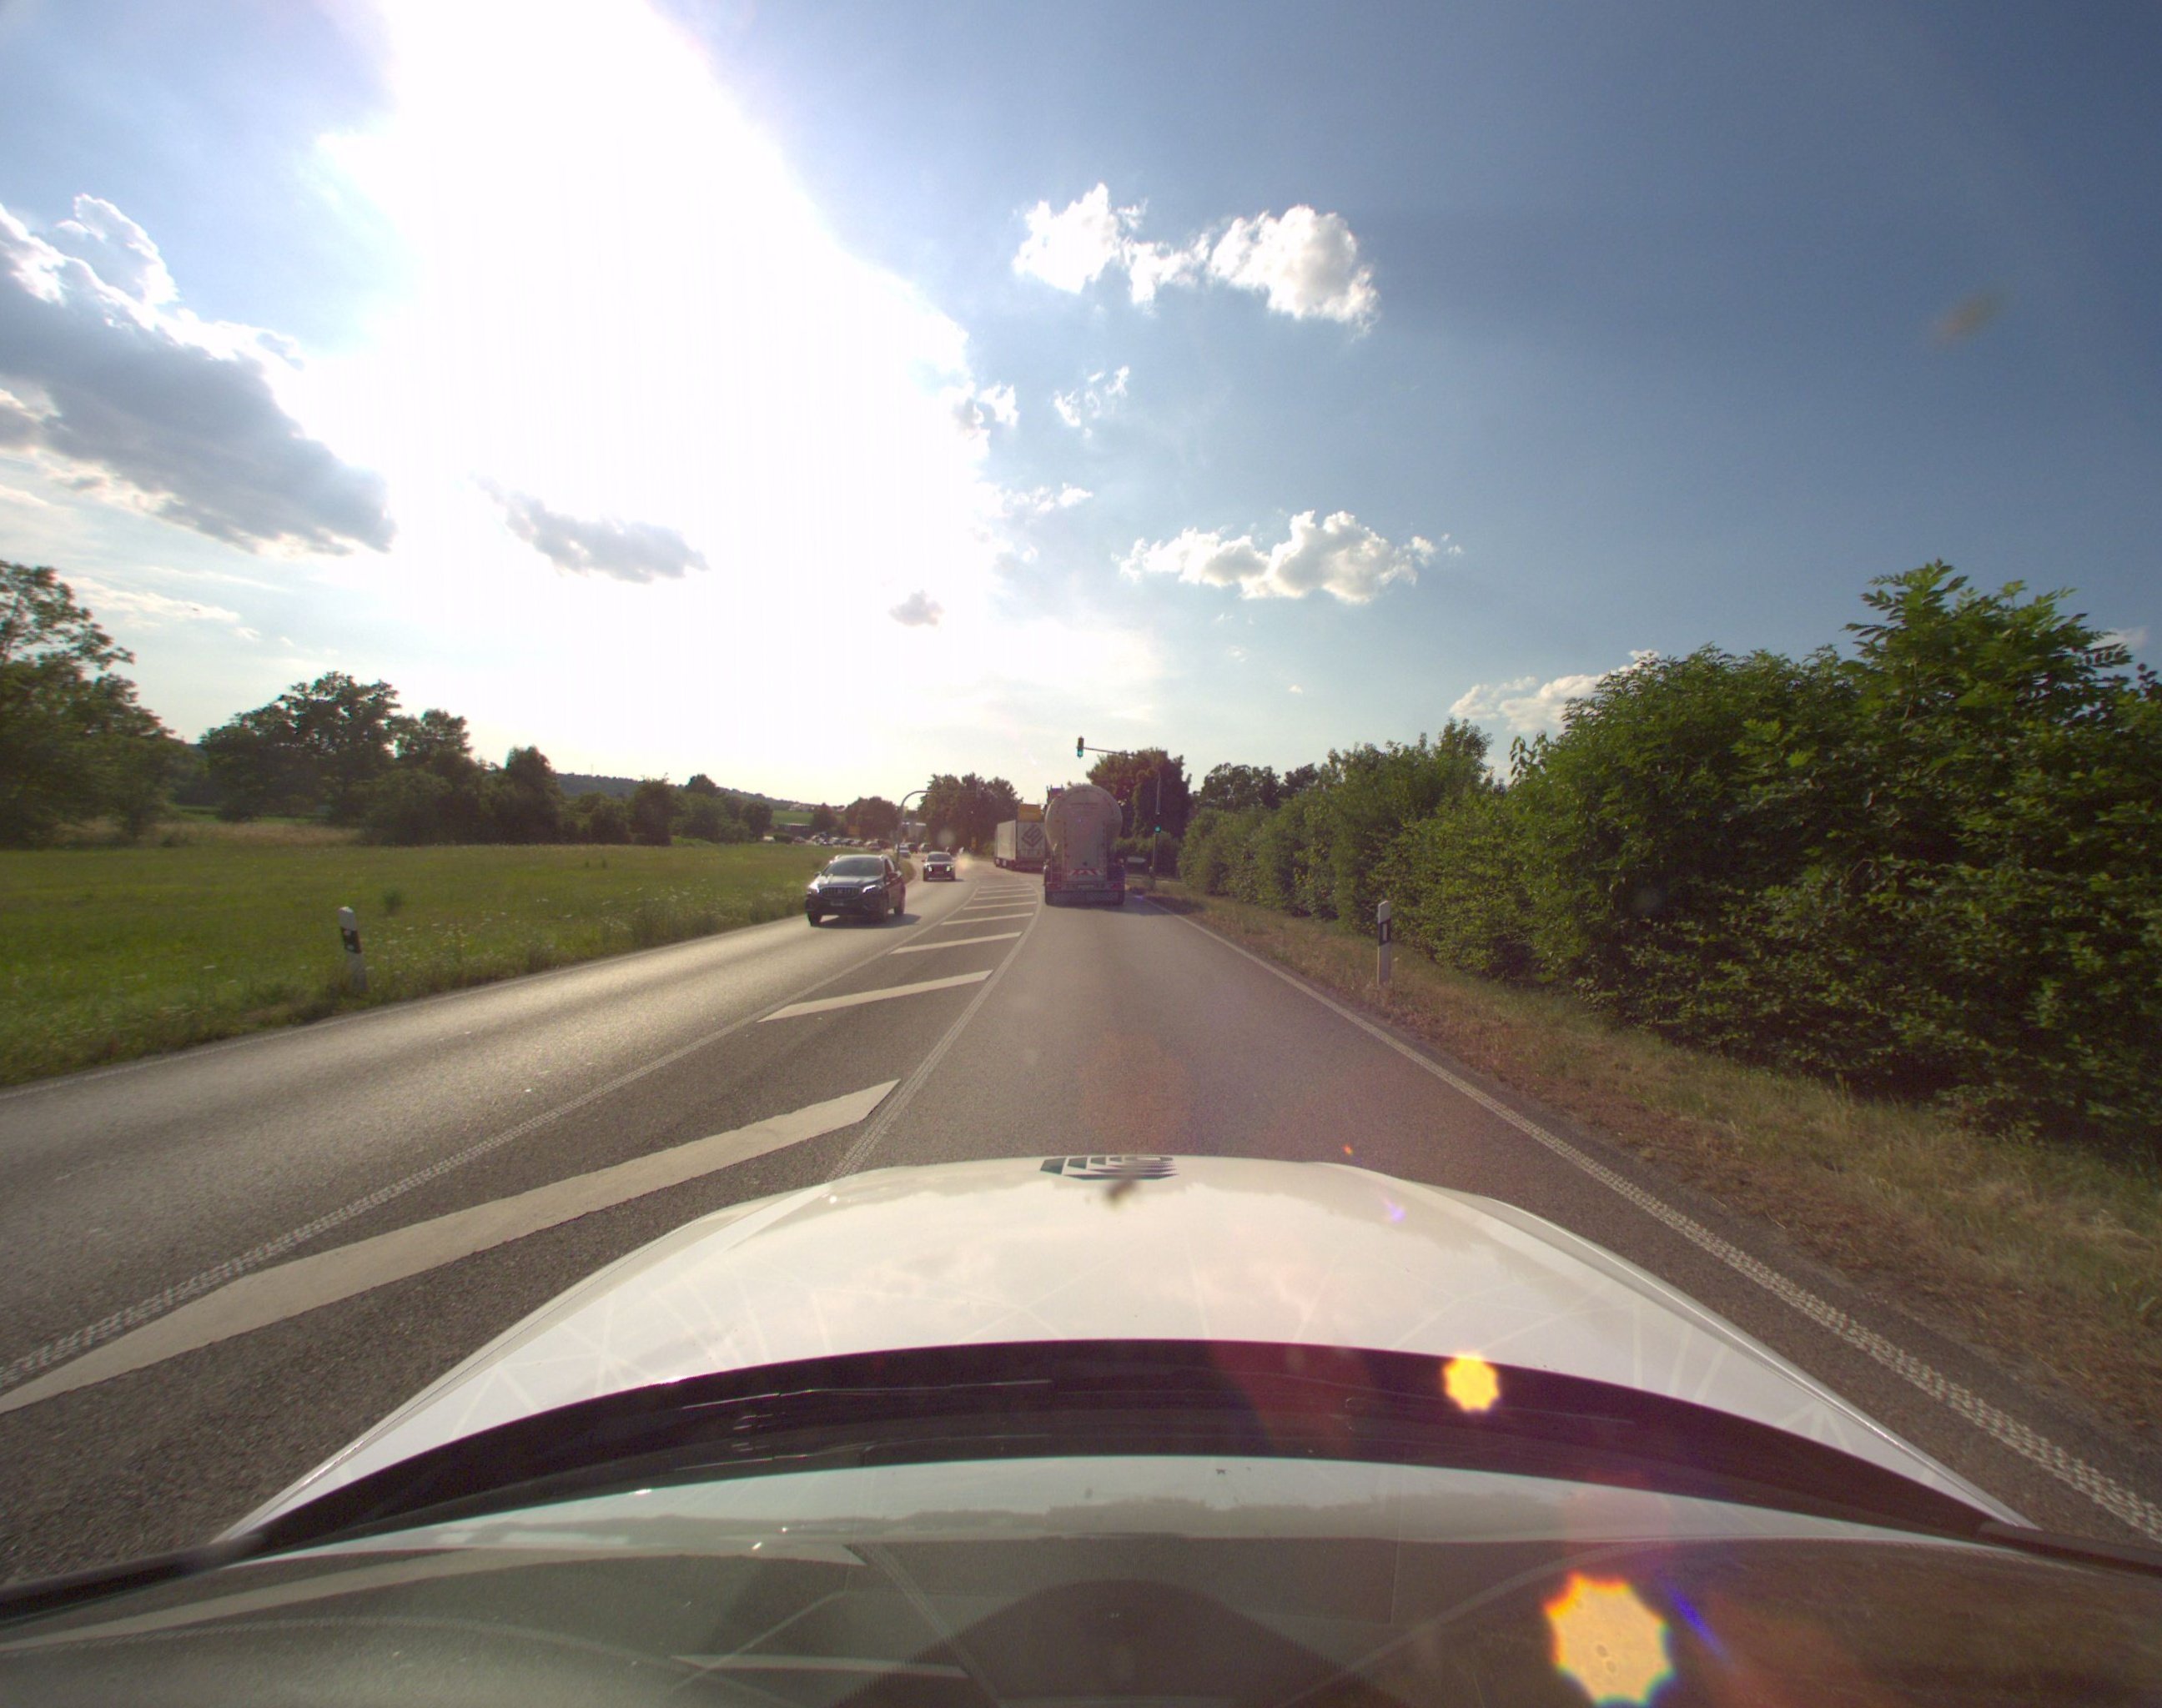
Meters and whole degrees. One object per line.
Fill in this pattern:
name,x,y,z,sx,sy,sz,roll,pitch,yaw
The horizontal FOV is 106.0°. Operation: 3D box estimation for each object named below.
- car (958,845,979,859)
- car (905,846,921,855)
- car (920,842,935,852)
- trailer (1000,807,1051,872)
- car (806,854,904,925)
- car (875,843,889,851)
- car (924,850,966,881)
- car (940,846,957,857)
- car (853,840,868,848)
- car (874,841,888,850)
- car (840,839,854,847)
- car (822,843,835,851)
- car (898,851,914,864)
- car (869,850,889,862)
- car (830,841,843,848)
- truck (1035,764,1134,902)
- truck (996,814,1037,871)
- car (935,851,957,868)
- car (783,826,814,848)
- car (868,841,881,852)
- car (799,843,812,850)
car,-14.325,-0.253,103.493,1.998,1.656,3.977,1,-1,-17
car,-28.453,-0.592,137.686,1.890,1.599,3.969,1,0,-24
car,-27.107,-1.150,143.341,1.848,1.656,3.970,1,-1,-22
trailer,-4.698,-0.991,66.974,2.965,4.882,10.249,1,-1,-11
car,-5.477,0.840,20.185,1.693,1.553,4.141,1,-1,-7
car,-41.332,-1.491,169.295,1.893,1.599,3.963,1,0,-29
car,-8.041,0.650,48.381,1.989,1.725,4.420,1,1,-4
car,-19.414,-0.307,119.432,1.690,1.468,3.970,1,-1,-22
car,-46.245,-2.119,170.829,1.894,1.599,3.960,1,0,-32
car,-38.836,-1.666,158.059,1.892,1.599,3.965,1,0,-27
car,-50.375,-2.357,175.506,1.894,1.599,3.961,1,0,-31
car,-51.606,-1.409,166.418,1.893,1.599,3.962,1,0,-29
car,-23.077,0.416,107.186,1.885,1.599,3.979,1,0,-15
car,-26.500,0.238,106.783,1.889,1.599,3.970,1,0,-22
car,-54.678,-2.132,182.424,1.893,1.599,3.962,1,0,-30
truck,-0.049,-0.510,30.728,2.968,4.176,11.652,1,-1,-2
truck,-5.948,-0.945,73.694,2.964,4.887,6.406,1,-1,-11
car,-11.737,0.494,71.059,1.718,1.436,3.740,-1,0,-7
car,-70.208,-4.150,202.094,3.568,5.059,13.098,1,0,-36
car,-33.781,-1.208,133.235,1.886,1.599,3.977,1,0,-17
car,-61.737,-1.719,182.235,1.894,1.599,3.960,1,0,-32
